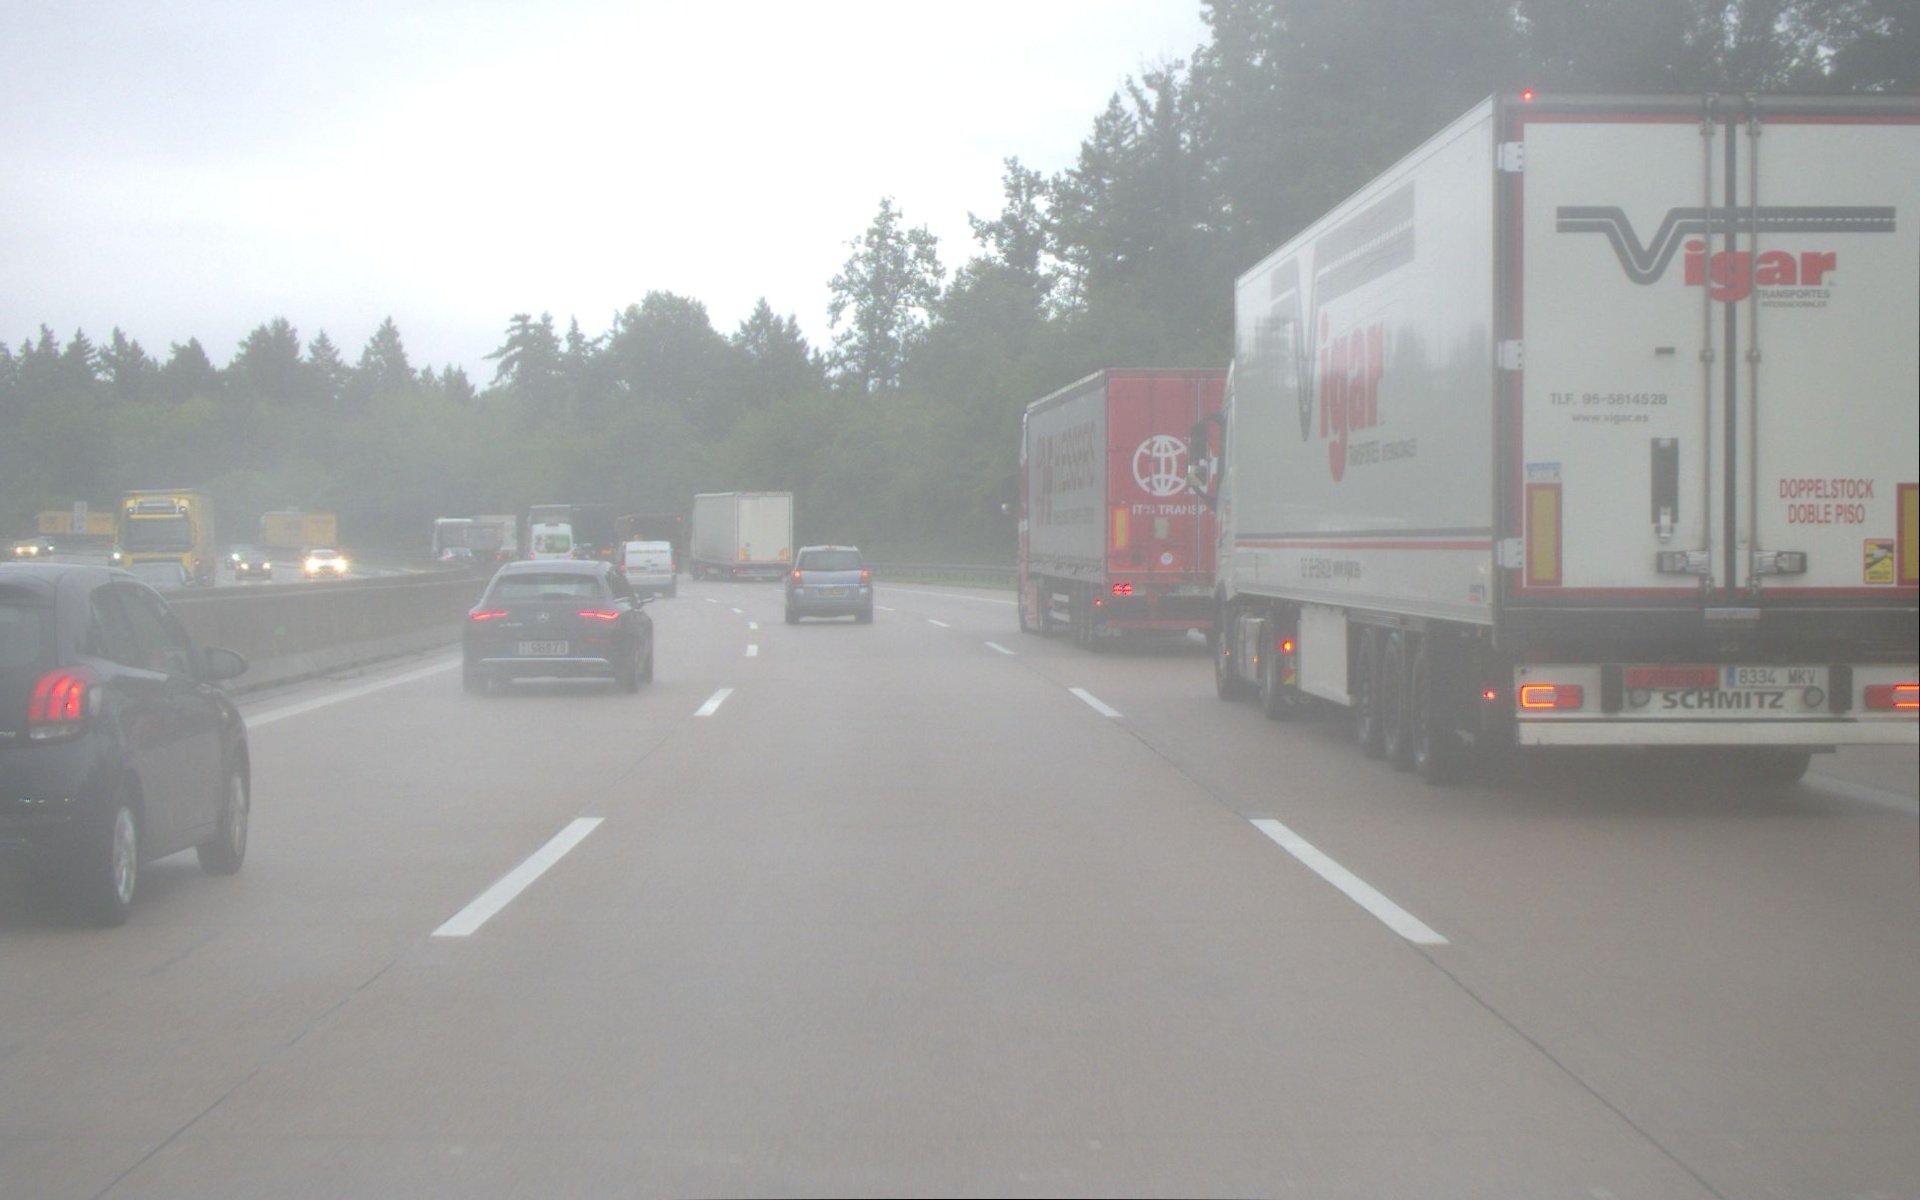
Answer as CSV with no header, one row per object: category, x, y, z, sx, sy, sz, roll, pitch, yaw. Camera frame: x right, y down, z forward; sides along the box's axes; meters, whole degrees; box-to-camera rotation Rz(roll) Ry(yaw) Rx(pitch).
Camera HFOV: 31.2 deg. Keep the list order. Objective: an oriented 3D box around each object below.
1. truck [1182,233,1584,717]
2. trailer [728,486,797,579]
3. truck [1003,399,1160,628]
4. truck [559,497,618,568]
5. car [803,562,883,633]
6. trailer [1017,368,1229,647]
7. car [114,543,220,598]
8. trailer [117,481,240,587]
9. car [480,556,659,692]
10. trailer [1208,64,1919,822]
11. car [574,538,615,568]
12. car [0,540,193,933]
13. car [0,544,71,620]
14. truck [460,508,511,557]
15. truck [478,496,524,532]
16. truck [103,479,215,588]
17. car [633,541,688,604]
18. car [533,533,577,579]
truck,3.777,-1.115,32.064,2.798,4.089,5.968,0,1,-2
trailer,-9.066,-3.134,156.600,2.419,4.054,12.058,0,2,-7
truck,2.134,-1.544,62.283,2.374,3.940,6.160,0,1,-2
truck,-22.520,-4.129,207.837,3.368,4.117,10.440,0,2,-7
car,-2.450,-0.069,71.409,1.553,1.347,3.684,2,1,-3
trailer,2.411,-1.414,54.946,2.370,3.940,12.522,0,1,-2
car,-19.704,-0.759,85.605,1.802,1.329,4.565,0,1,-3
trailer,-29.955,-2.528,132.337,3.013,3.861,13.703,0,1,-6
car,-4.208,0.224,37.466,1.553,1.347,3.684,2,1,-1
trailer,3.966,-0.974,25.446,2.734,4.089,13.684,0,1,-2
car,-18.840,-2.407,177.213,1.881,1.468,4.001,2,1,-3
car,-4.440,0.476,14.834,1.683,1.457,3.684,2,1,-5
car,-17.768,-0.358,63.235,1.802,1.329,4.565,0,1,-2
truck,-30.013,-4.290,217.880,3.082,2.895,7.905,1,2,-7
truck,-31.782,-5.954,238.453,2.974,2.301,6.669,2,1,-7
truck,-29.239,-2.418,125.777,3.025,3.861,8.119,0,1,-6
car,-9.857,-0.925,112.867,1.725,2.007,3.657,-1,1,-6
car,-18.592,-2.049,157.892,1.993,2.052,4.001,-1,1,-6
